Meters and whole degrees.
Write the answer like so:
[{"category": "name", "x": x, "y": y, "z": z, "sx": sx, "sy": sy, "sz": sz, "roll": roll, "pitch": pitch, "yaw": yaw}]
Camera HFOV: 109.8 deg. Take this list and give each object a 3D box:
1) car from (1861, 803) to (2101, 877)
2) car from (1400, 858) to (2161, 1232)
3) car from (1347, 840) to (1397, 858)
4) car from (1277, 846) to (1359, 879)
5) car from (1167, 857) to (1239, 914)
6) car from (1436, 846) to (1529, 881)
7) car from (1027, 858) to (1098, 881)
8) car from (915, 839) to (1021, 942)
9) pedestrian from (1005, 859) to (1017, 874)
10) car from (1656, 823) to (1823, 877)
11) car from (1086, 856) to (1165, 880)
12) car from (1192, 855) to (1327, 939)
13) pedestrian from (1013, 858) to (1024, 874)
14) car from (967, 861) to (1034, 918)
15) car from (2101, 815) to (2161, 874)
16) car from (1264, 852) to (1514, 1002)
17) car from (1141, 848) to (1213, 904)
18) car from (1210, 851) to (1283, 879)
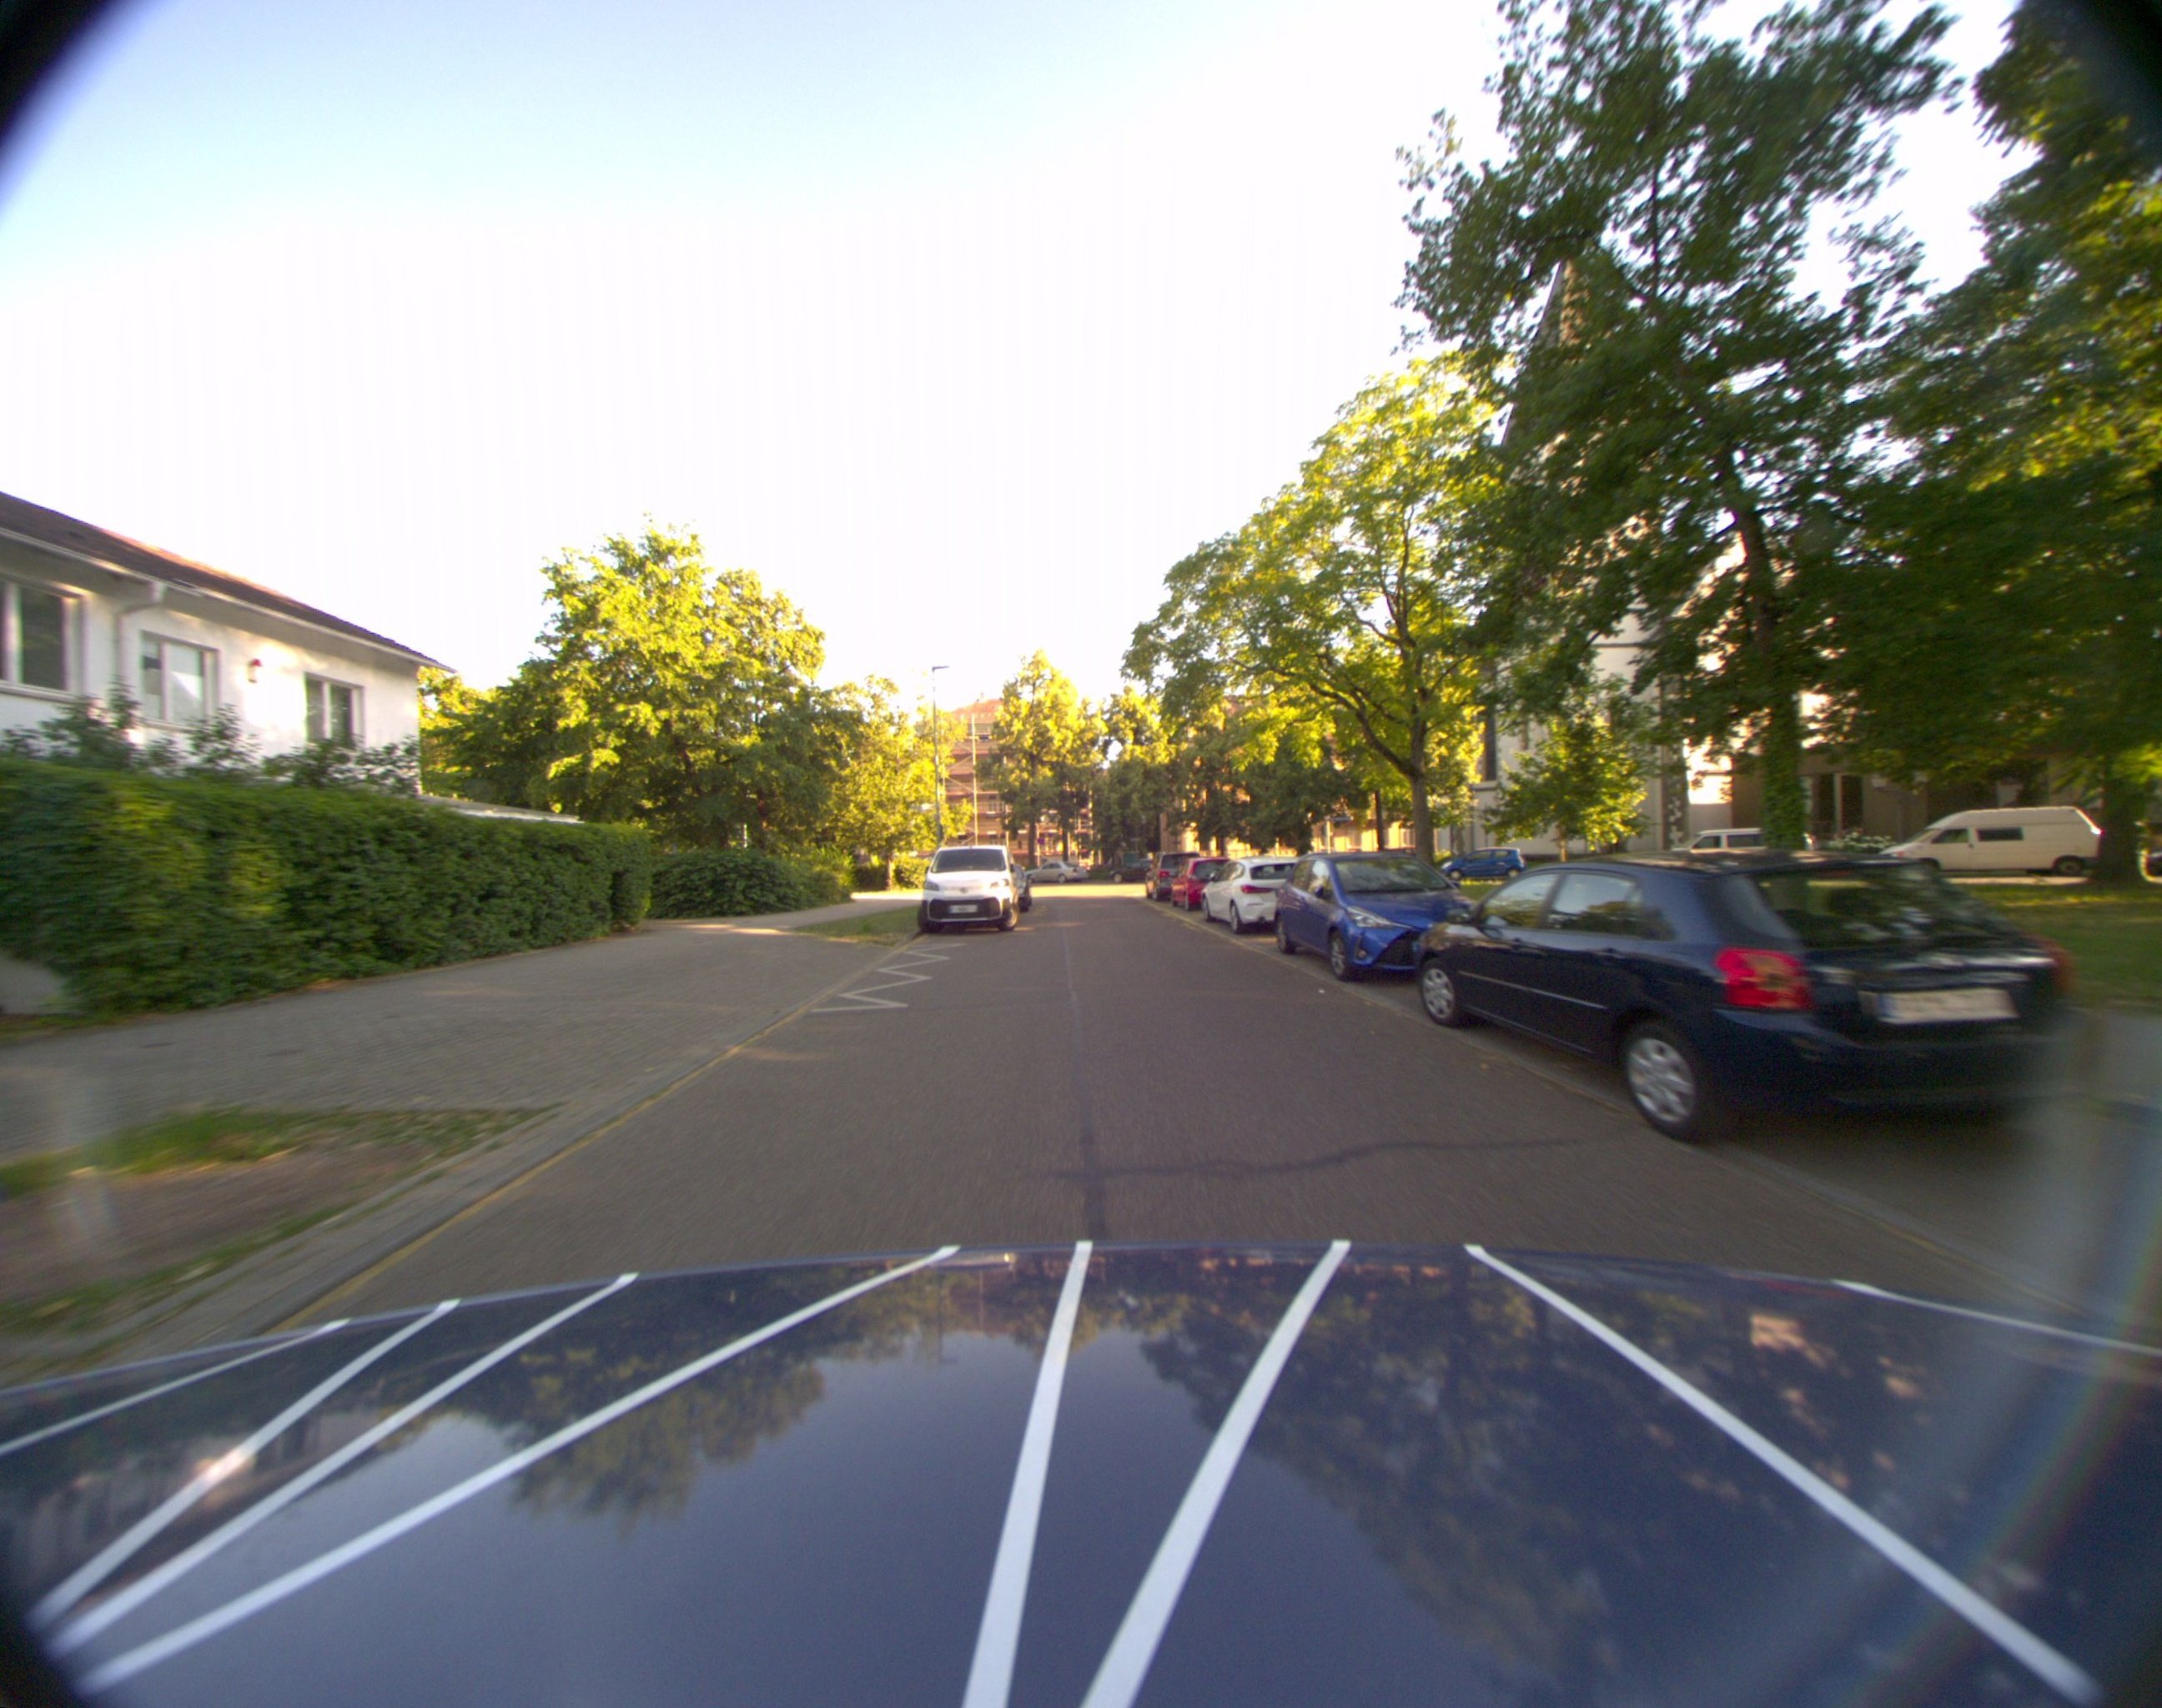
[{"category": "car", "x": 31.730, "y": -0.443, "z": 27.063, "sx": 5.173, "sy": 2.342, "sz": 1.860, "roll": -2, "pitch": 0, "yaw": 28}, {"category": "car", "x": 3.735, "y": 0.813, "z": 5.129, "sx": 1.555, "sy": 1.486, "sz": 3.943, "roll": -2, "pitch": 0, "yaw": 1}, {"category": "car", "x": 29.325, "y": -0.485, "z": 76.602, "sx": 4.218, "sy": 1.646, "sz": 1.999, "roll": -2, "pitch": 0, "yaw": -2}, {"category": "car", "x": 12.266, "y": 0.441, "z": 39.423, "sx": 3.687, "sy": 1.570, "sz": 1.713, "roll": -2, "pitch": 0, "yaw": 33}, {"category": "car", "x": 3.434, "y": 0.830, "z": 21.871, "sx": 1.391, "sy": 1.415, "sz": 3.426, "roll": -4, "pitch": 0, "yaw": -1}, {"category": "car", "x": 18.659, "y": 0.450, "z": 35.347, "sx": 3.687, "sy": 1.492, "sz": 1.624, "roll": -2, "pitch": 0, "yaw": 33}, {"category": "car", "x": -1.258, "y": 1.047, "z": 49.425, "sx": 4.485, "sy": 1.407, "sz": 1.789, "roll": -2, "pitch": -2, "yaw": 38}, {"category": "car", "x": -2.466, "y": 0.727, "z": 17.843, "sx": 1.958, "sy": 2.002, "sz": 5.151, "roll": -2, "pitch": 0, "yaw": -3}, {"category": "pedestrian", "x": -5.554, "y": 1.005, "z": 60.092, "sx": 0.554, "sy": 1.188, "sz": 0.882, "roll": -2, "pitch": 0, "yaw": -39}, {"category": "car", "x": 26.146, "y": -0.134, "z": 30.448, "sx": 4.827, "sy": 1.935, "sz": 1.861, "roll": -2, "pitch": 0, "yaw": 33}, {"category": "car", "x": 2.682, "y": 0.878, "z": 46.379, "sx": 4.483, "sy": 1.407, "sz": 1.835, "roll": -2, "pitch": -2, "yaw": 35}, {"category": "car", "x": 3.514, "y": 0.781, "z": 15.692, "sx": 1.694, "sy": 1.398, "sz": 3.974, "roll": -4, "pitch": 0, "yaw": -1}, {"category": "pedestrian", "x": -4.971, "y": 0.951, "z": 60.300, "sx": 0.554, "sy": 1.225, "sz": 0.723, "roll": -2, "pitch": 0, "yaw": -39}, {"category": "car", "x": -2.390, "y": 1.012, "z": 23.496, "sx": 1.770, "sy": 1.459, "sz": 4.863, "roll": -2, "pitch": 0, "yaw": -3}, {"category": "car", "x": 36.504, "y": -0.381, "z": 24.348, "sx": 4.133, "sy": 1.875, "sz": 1.860, "roll": -2, "pitch": 0, "yaw": 28}, {"category": "car", "x": 3.730, "y": 0.777, "z": 9.944, "sx": 1.642, "sy": 1.487, "sz": 3.704, "roll": -4, "pitch": 0, "yaw": -1}, {"category": "car", "x": 3.253, "y": 0.697, "z": 26.513, "sx": 1.806, "sy": 1.666, "sz": 4.320, "roll": -4, "pitch": 0, "yaw": -1}, {"category": "car", "x": 9.102, "y": 0.612, "z": 41.846, "sx": 3.596, "sy": 1.431, "sz": 1.621, "roll": -2, "pitch": -1, "yaw": 35}]
